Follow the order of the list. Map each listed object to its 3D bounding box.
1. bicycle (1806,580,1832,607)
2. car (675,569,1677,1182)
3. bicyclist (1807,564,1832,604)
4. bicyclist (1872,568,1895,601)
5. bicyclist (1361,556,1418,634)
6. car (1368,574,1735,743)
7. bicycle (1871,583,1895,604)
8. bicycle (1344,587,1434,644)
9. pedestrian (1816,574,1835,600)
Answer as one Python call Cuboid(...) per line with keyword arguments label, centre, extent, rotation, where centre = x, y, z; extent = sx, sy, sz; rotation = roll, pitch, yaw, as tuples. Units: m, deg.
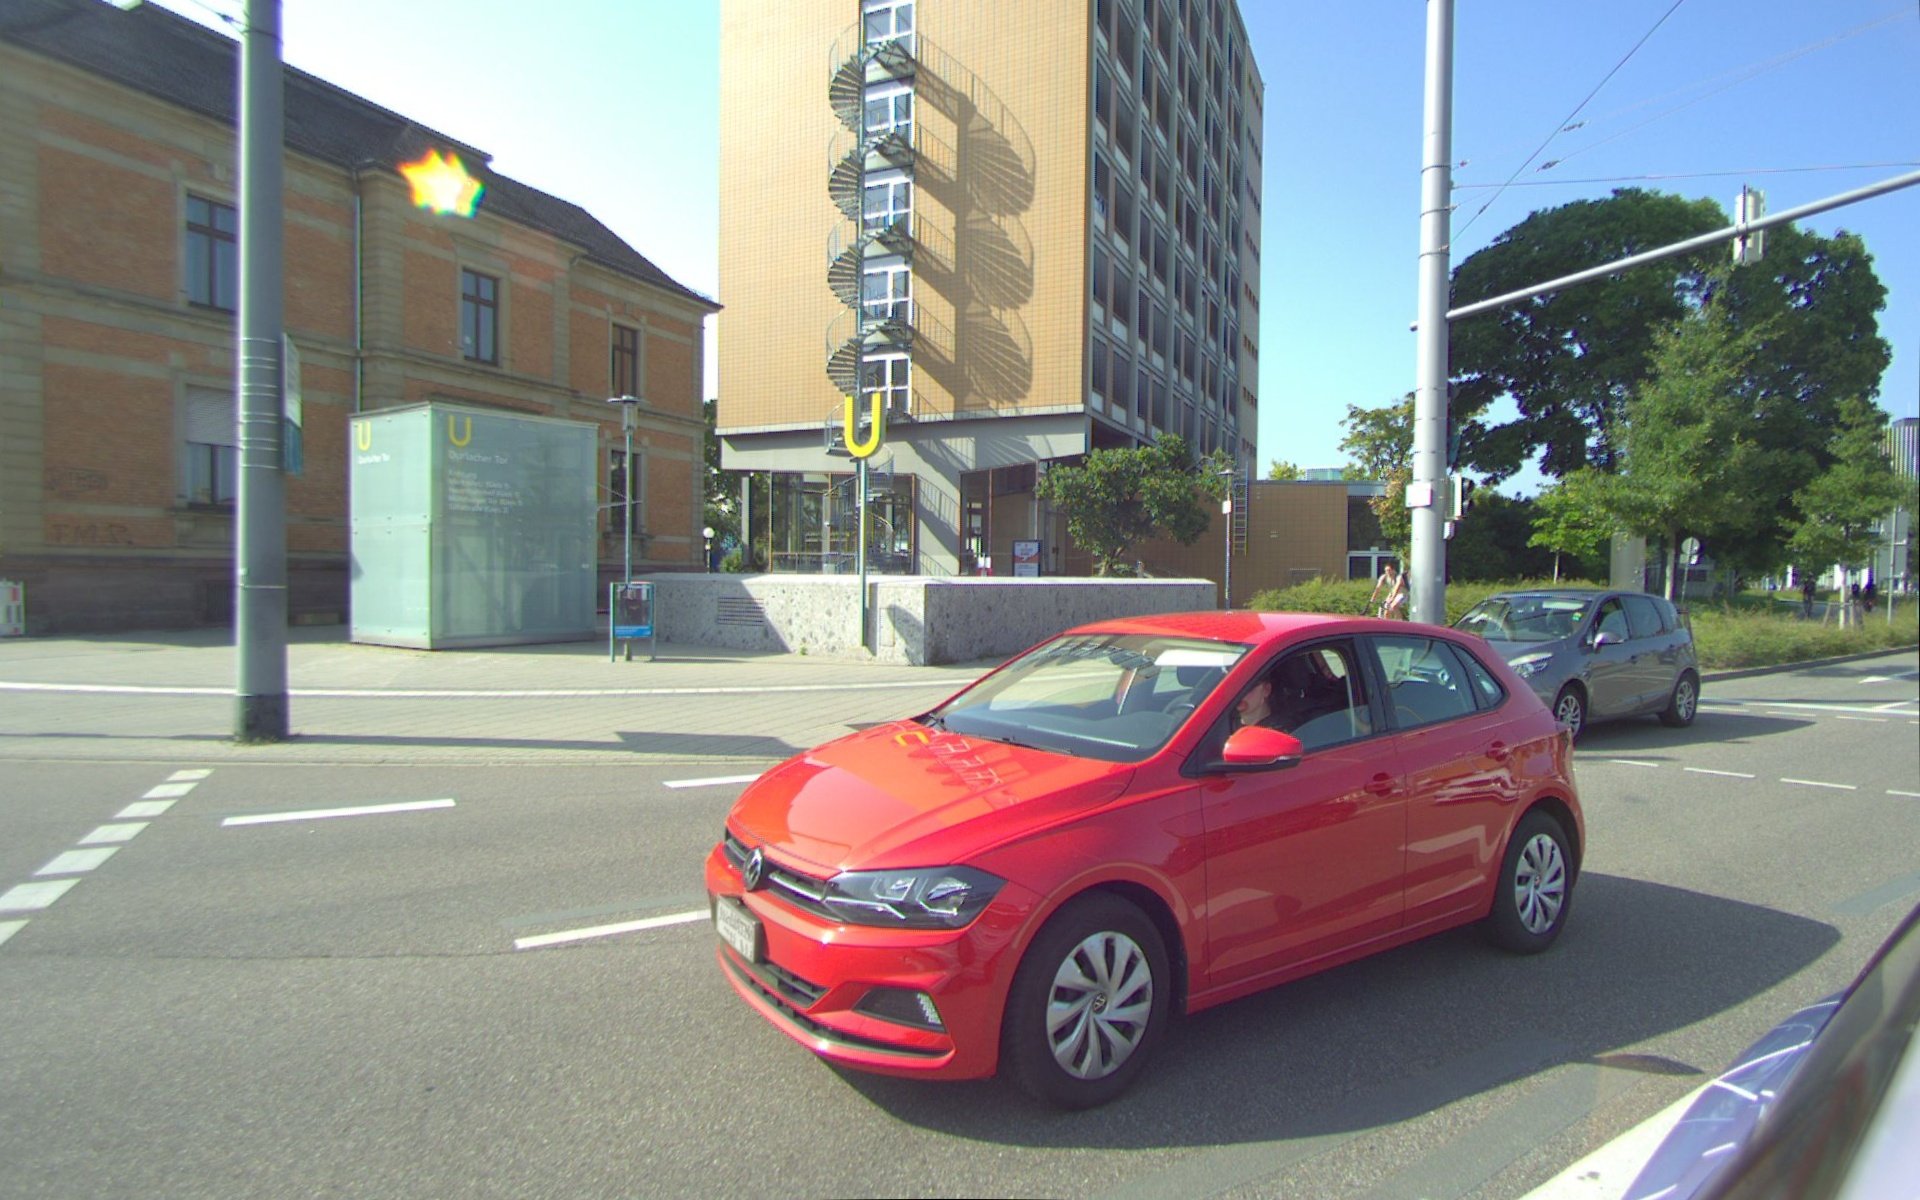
Cuboid(label="bicycle", centre=(37.188, -0.281, 43.801), extent=(0.771, 1.131, 2.268), rotation=(1, 2, 42))
Cuboid(label="car", centre=(1.148, 0.651, 4.380), extent=(4.287, 1.510, 1.689), rotation=(0, 2, -33))
Cuboid(label="bicyclist", centre=(37.228, -0.711, 43.834), extent=(0.771, 1.697, 0.910), rotation=(1, 1, 43))
Cuboid(label="bicyclist", centre=(43.240, -0.745, 47.393), extent=(0.988, 1.531, 0.720), rotation=(-1, 2, -44))
Cuboid(label="bicyclist", centre=(9.233, -0.120, 21.741), extent=(0.907, 1.613, 0.773), rotation=(-1, 1, -37))
Cuboid(label="car", centre=(6.881, 0.581, 11.665), extent=(4.334, 1.626, 1.785), rotation=(0, -1, -32))
Cuboid(label="bicycle", centre=(43.192, -0.319, 47.368), extent=(1.890, 0.971, 0.720), rotation=(-1, 2, -45))
Cuboid(label="bicycle", centre=(9.249, 0.308, 21.774), extent=(2.261, 1.131, 0.773), rotation=(-1, 1, -37))
Cuboid(label="pedestrian", centre=(49.964, -0.749, 58.452), extent=(0.722, 1.461, 0.847), rotation=(1, 2, 35))
